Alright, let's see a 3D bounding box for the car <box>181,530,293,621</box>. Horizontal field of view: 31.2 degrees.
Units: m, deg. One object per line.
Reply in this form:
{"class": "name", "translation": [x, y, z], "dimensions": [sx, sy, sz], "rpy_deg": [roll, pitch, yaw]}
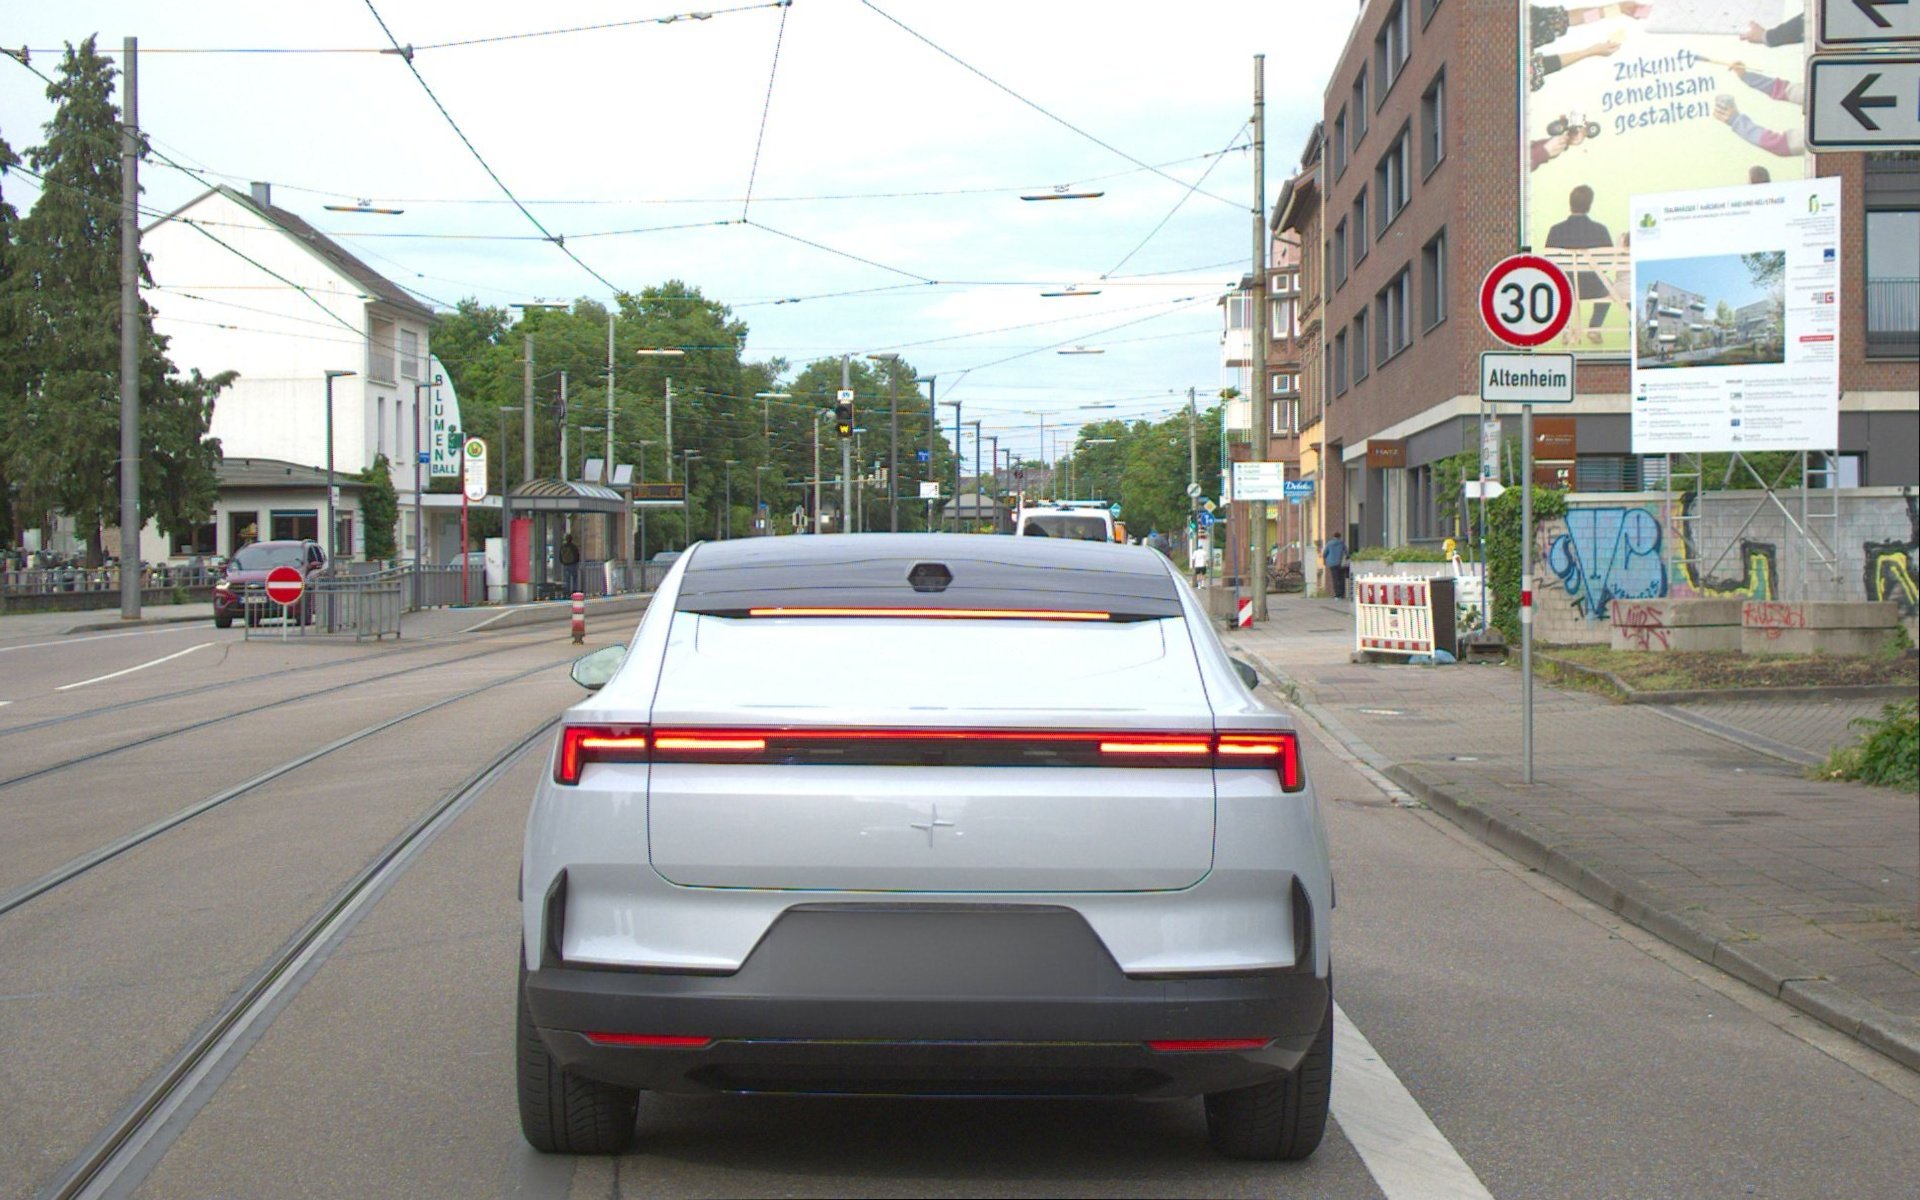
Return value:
{"class": "car", "translation": [-14.212, -0.500, 67.751], "dimensions": [1.842, 1.718, 4.408], "rpy_deg": [0, 1, -8]}

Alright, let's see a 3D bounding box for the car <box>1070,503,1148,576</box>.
{"class": "car", "translation": [4.223, -1.715, 97.983], "dimensions": [1.993, 2.007, 4.000], "rpy_deg": [1, 1, 0]}

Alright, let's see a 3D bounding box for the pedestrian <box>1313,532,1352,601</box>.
{"class": "pedestrian", "translation": [10.367, -0.937, 95.658], "dimensions": [0.961, 1.843, 0.975], "rpy_deg": [-2, 1, 9]}

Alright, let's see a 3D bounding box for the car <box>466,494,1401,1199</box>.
{"class": "car", "translation": [-0.112, 0.560, 9.439], "dimensions": [1.999, 1.575, 4.000], "rpy_deg": [1, 0, -2]}

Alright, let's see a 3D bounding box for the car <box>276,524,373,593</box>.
{"class": "car", "translation": [-14.882, -0.970, 80.685], "dimensions": [1.790, 1.525, 4.142], "rpy_deg": [-2, 1, -5]}

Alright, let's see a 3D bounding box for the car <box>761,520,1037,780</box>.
{"class": "car", "translation": [-0.362, 0.309, 24.540], "dimensions": [1.681, 1.682, 3.823], "rpy_deg": [1, 1, 3]}

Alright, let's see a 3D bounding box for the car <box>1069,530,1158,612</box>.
{"class": "car", "translation": [3.825, -0.731, 86.388], "dimensions": [1.993, 2.007, 4.000], "rpy_deg": [1, 1, 0]}

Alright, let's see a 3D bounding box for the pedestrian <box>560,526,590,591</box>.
{"class": "pedestrian", "translation": [-9.854, -1.059, 88.023], "dimensions": [0.615, 1.659, 0.697], "rpy_deg": [1, 0, 5]}

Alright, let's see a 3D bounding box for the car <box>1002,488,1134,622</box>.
{"class": "car", "translation": [1.985, -0.846, 64.811], "dimensions": [2.226, 2.394, 5.123], "rpy_deg": [1, 1, -1]}
